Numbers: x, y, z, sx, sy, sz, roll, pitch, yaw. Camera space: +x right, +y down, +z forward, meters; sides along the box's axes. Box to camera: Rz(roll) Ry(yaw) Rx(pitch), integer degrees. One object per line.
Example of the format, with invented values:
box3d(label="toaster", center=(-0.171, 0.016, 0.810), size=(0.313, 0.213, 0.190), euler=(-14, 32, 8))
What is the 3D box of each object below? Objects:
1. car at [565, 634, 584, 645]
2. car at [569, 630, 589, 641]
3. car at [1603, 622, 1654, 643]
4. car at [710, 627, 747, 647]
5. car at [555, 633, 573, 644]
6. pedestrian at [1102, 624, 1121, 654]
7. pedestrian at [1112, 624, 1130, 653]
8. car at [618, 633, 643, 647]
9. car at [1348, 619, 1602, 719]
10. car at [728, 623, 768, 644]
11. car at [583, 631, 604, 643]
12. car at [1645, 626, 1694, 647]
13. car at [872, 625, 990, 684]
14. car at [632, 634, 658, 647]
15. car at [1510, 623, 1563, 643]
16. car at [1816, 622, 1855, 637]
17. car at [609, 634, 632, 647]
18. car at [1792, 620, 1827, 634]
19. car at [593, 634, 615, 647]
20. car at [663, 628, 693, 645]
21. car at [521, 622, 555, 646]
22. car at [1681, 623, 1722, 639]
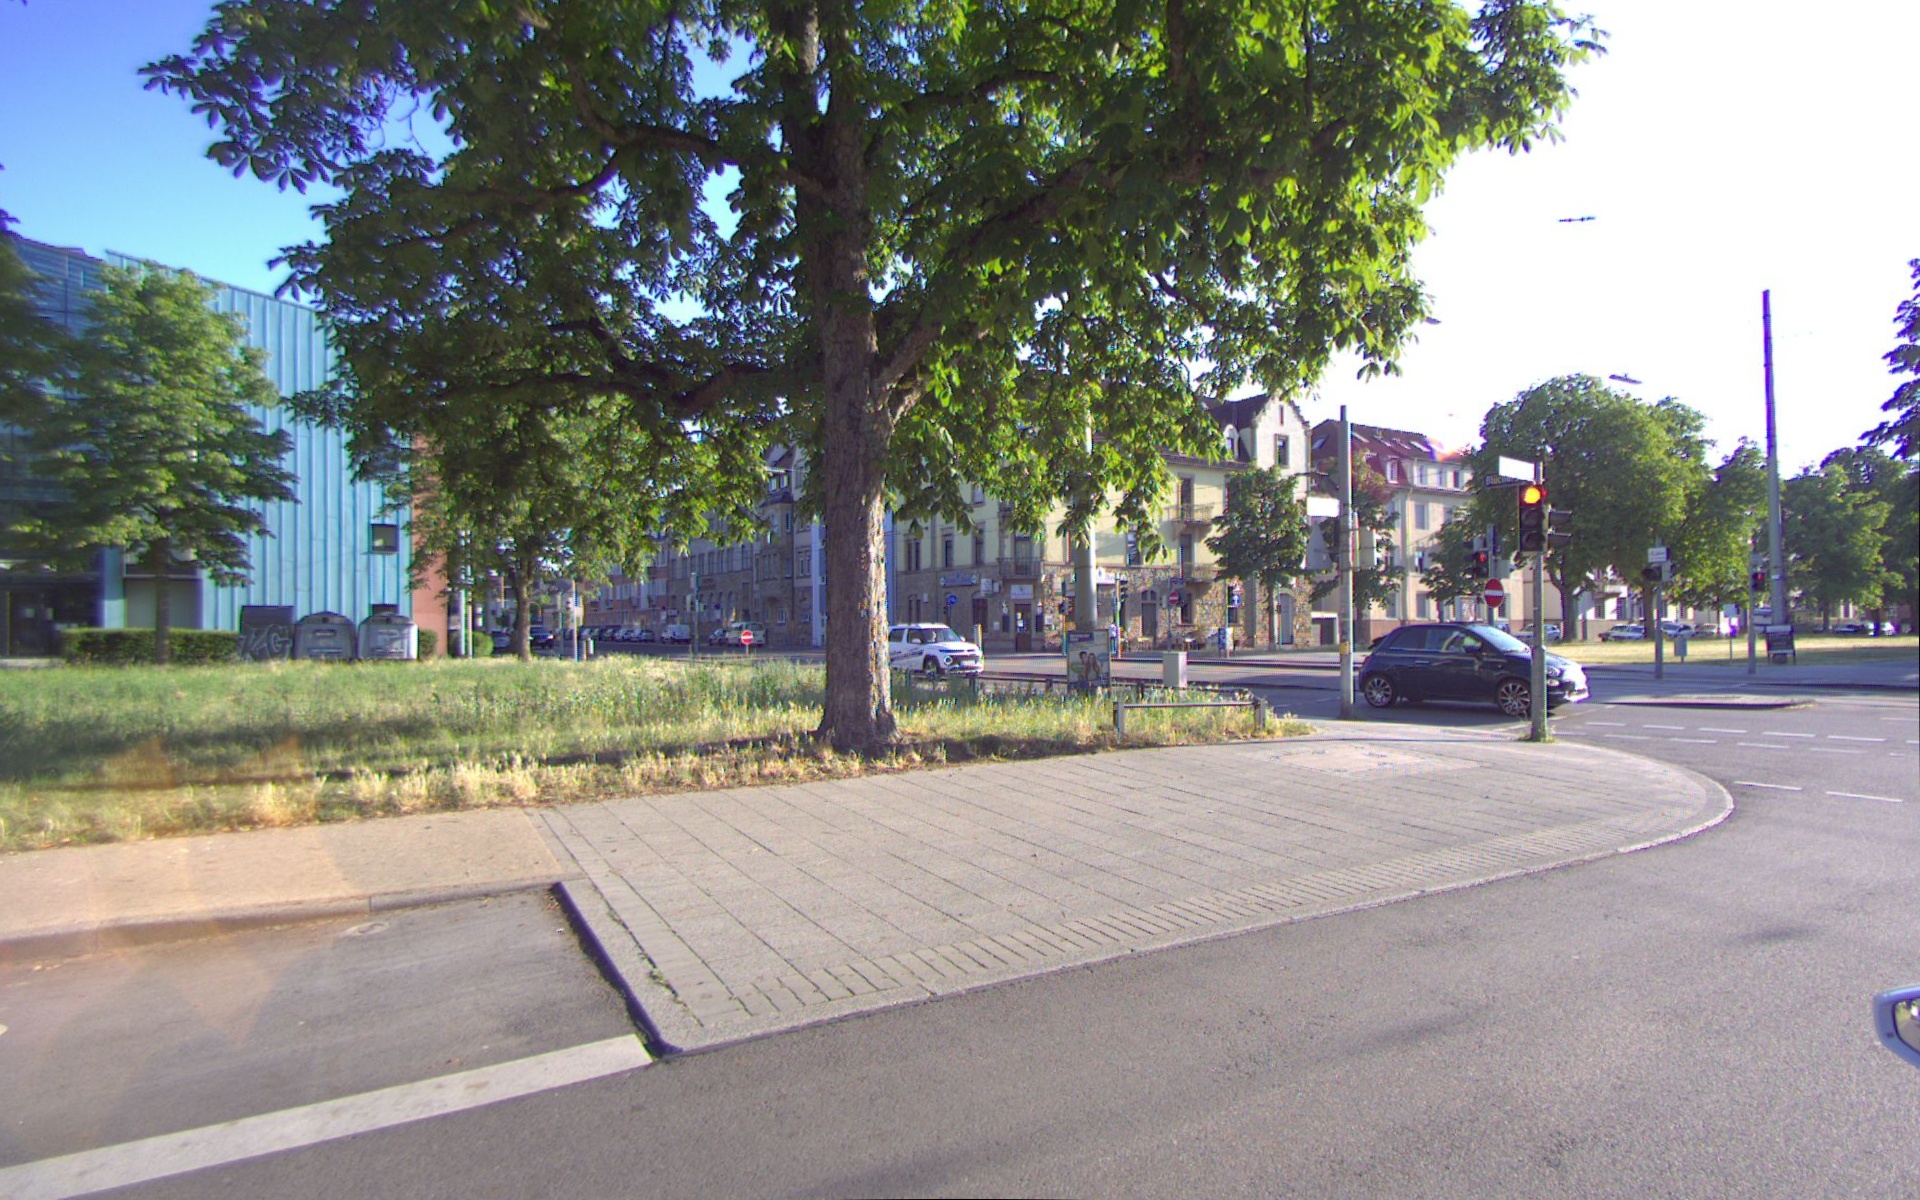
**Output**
box3d(label="car", center=(-51.075, 5.237, 133.017), size=(1.867, 1.433, 4.014), euler=(0, -2, -29))
box3d(label="car", center=(-48.847, 4.556, 128.799), size=(1.867, 1.433, 4.013), euler=(0, -1, -29))
box3d(label="car", center=(49.243, 2.366, 73.997), size=(3.748, 1.446, 1.729), euler=(0, -1, -31))
box3d(label="car", center=(-19.588, 3.118, 84.771), size=(2.074, 1.612, 4.014), euler=(2, -2, -28))
box3d(label="car", center=(-53.971, 5.174, 136.847), size=(1.867, 1.433, 4.014), euler=(0, -2, -29))
box3d(label="pedestrian", center=(8.718, 2.240, 57.812), size=(0.809, 1.664, 0.717), euler=(1, -1, -41))
box3d(label="pedestrian", center=(9.391, 2.261, 58.525), size=(0.715, 1.664, 0.811), euler=(0, -1, -23))
box3d(label="car", center=(-36.195, 4.406, 110.260), size=(1.867, 1.433, 4.014), euler=(0, -2, -29))
box3d(label="car", center=(8.802, 1.138, 17.376), size=(1.599, 1.517, 3.565), euler=(0, -2, -40))
box3d(label="car", center=(-16.931, 2.633, 80.082), size=(2.074, 1.612, 4.014), euler=(2, -2, -28))
box3d(label="car", center=(-45.410, 4.555, 124.264), size=(1.867, 1.433, 4.014), euler=(0, -1, -29))
box3d(label="car", center=(54.448, 2.765, 77.090), size=(3.748, 1.446, 1.729), euler=(-1, 0, -31))
box3d(label="car", center=(-0.911, 1.543, 29.453), size=(1.597, 1.572, 3.837), euler=(0, -1, -36))
box3d(label="car", center=(-33.106, 4.220, 105.623), size=(1.867, 1.299, 4.014), euler=(0, -2, -29))
box3d(label="car", center=(44.420, 2.538, 77.422), size=(3.741, 1.446, 1.733), euler=(0, -1, -25))
box3d(label="car", center=(83.384, 2.811, 95.608), size=(3.748, 1.446, 1.729), euler=(1, -1, -31))
box3d(label="car", center=(-39.014, 4.686, 115.440), size=(1.867, 1.433, 4.014), euler=(0, -2, -29))
box3d(label="car", center=(89.390, 2.792, 105.682), size=(3.748, 1.446, 1.729), euler=(1, -1, -31))
box3d(label="car", center=(-42.455, 4.823, 119.705), size=(1.867, 1.433, 4.014), euler=(0, -2, -29))
box3d(label="car", center=(-26.968, 3.479, 95.943), size=(1.888, 1.610, 4.014), euler=(2, -2, -29))
box3d(label="car", center=(-30.570, 2.443, 72.701), size=(1.856, 1.686, 4.529), euler=(0, -1, -29))
box3d(label="car", center=(69.069, 2.842, 93.534), size=(3.748, 1.446, 1.729), euler=(1, -1, -31))
